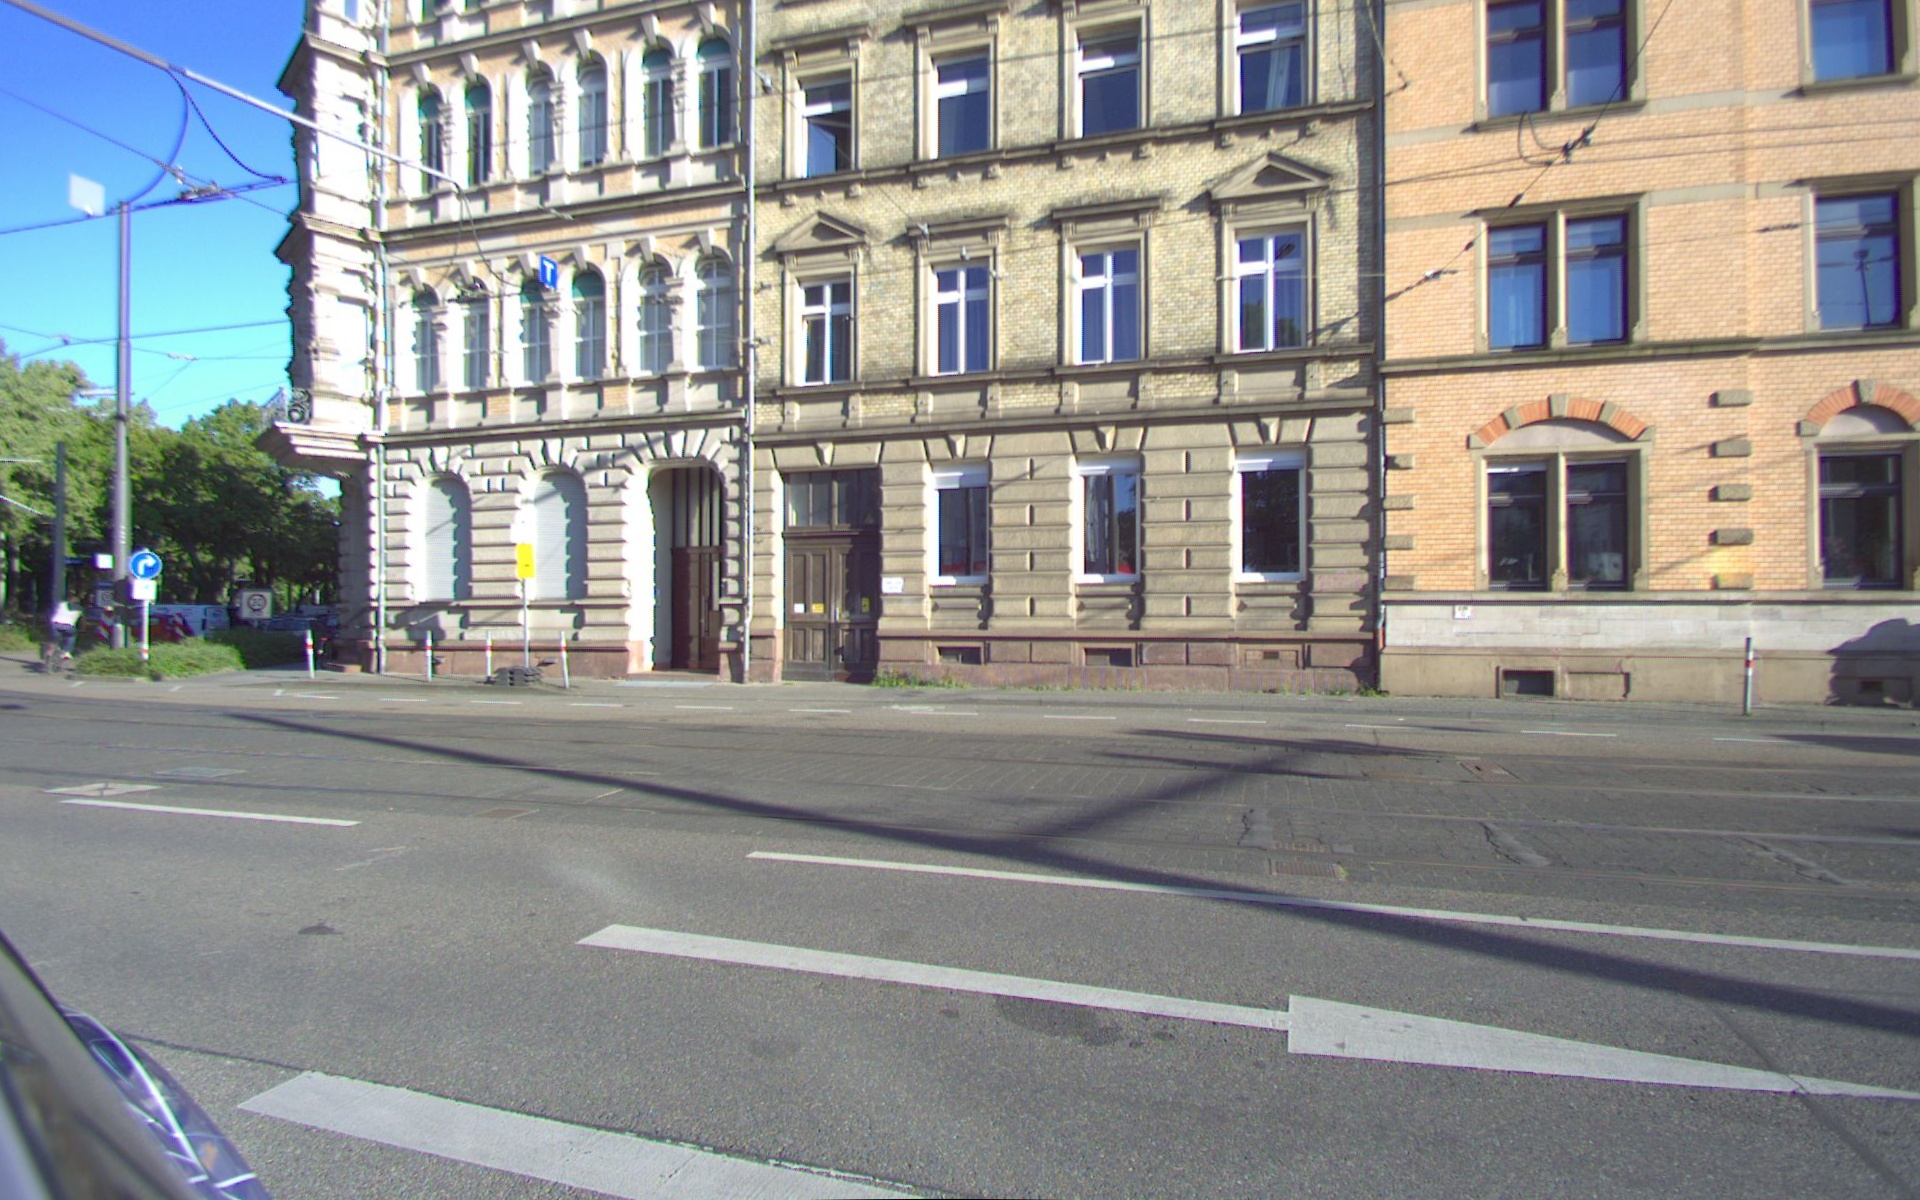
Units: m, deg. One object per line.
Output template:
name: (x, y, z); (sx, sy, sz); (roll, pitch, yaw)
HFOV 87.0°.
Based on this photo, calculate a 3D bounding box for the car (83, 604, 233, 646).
car: (-36.051, 1.120, 45.589); (4.980, 1.801, 2.003); (0, -1, -7)

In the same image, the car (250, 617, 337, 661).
car: (-22.754, 1.283, 34.685); (1.708, 1.425, 3.445); (0, -1, -20)

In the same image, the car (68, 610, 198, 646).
car: (-35.386, 1.196, 43.410); (3.937, 1.519, 1.872); (0, -1, -7)

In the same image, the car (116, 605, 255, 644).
car: (-37.151, 1.180, 48.639); (4.980, 1.822, 2.003); (0, -1, -7)

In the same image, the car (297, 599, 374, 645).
car: (-24.055, 0.839, 39.115); (1.708, 1.674, 4.013); (0, -1, -20)

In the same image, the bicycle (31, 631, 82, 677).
bicycle: (-22.219, 1.308, 24.925); (0.717, 1.092, 2.121); (1, -2, -36)

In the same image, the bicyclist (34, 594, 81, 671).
bicyclist: (-22.241, 0.801, 24.966); (0.718, 1.854, 1.215); (1, -2, -36)

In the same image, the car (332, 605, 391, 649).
car: (-28.887, 1.281, 48.992); (1.965, 2.029, 4.651); (0, -1, -25)

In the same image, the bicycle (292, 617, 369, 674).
bicycle: (-14.934, 1.046, 24.103); (0.635, 1.275, 2.694); (0, -1, -11)
